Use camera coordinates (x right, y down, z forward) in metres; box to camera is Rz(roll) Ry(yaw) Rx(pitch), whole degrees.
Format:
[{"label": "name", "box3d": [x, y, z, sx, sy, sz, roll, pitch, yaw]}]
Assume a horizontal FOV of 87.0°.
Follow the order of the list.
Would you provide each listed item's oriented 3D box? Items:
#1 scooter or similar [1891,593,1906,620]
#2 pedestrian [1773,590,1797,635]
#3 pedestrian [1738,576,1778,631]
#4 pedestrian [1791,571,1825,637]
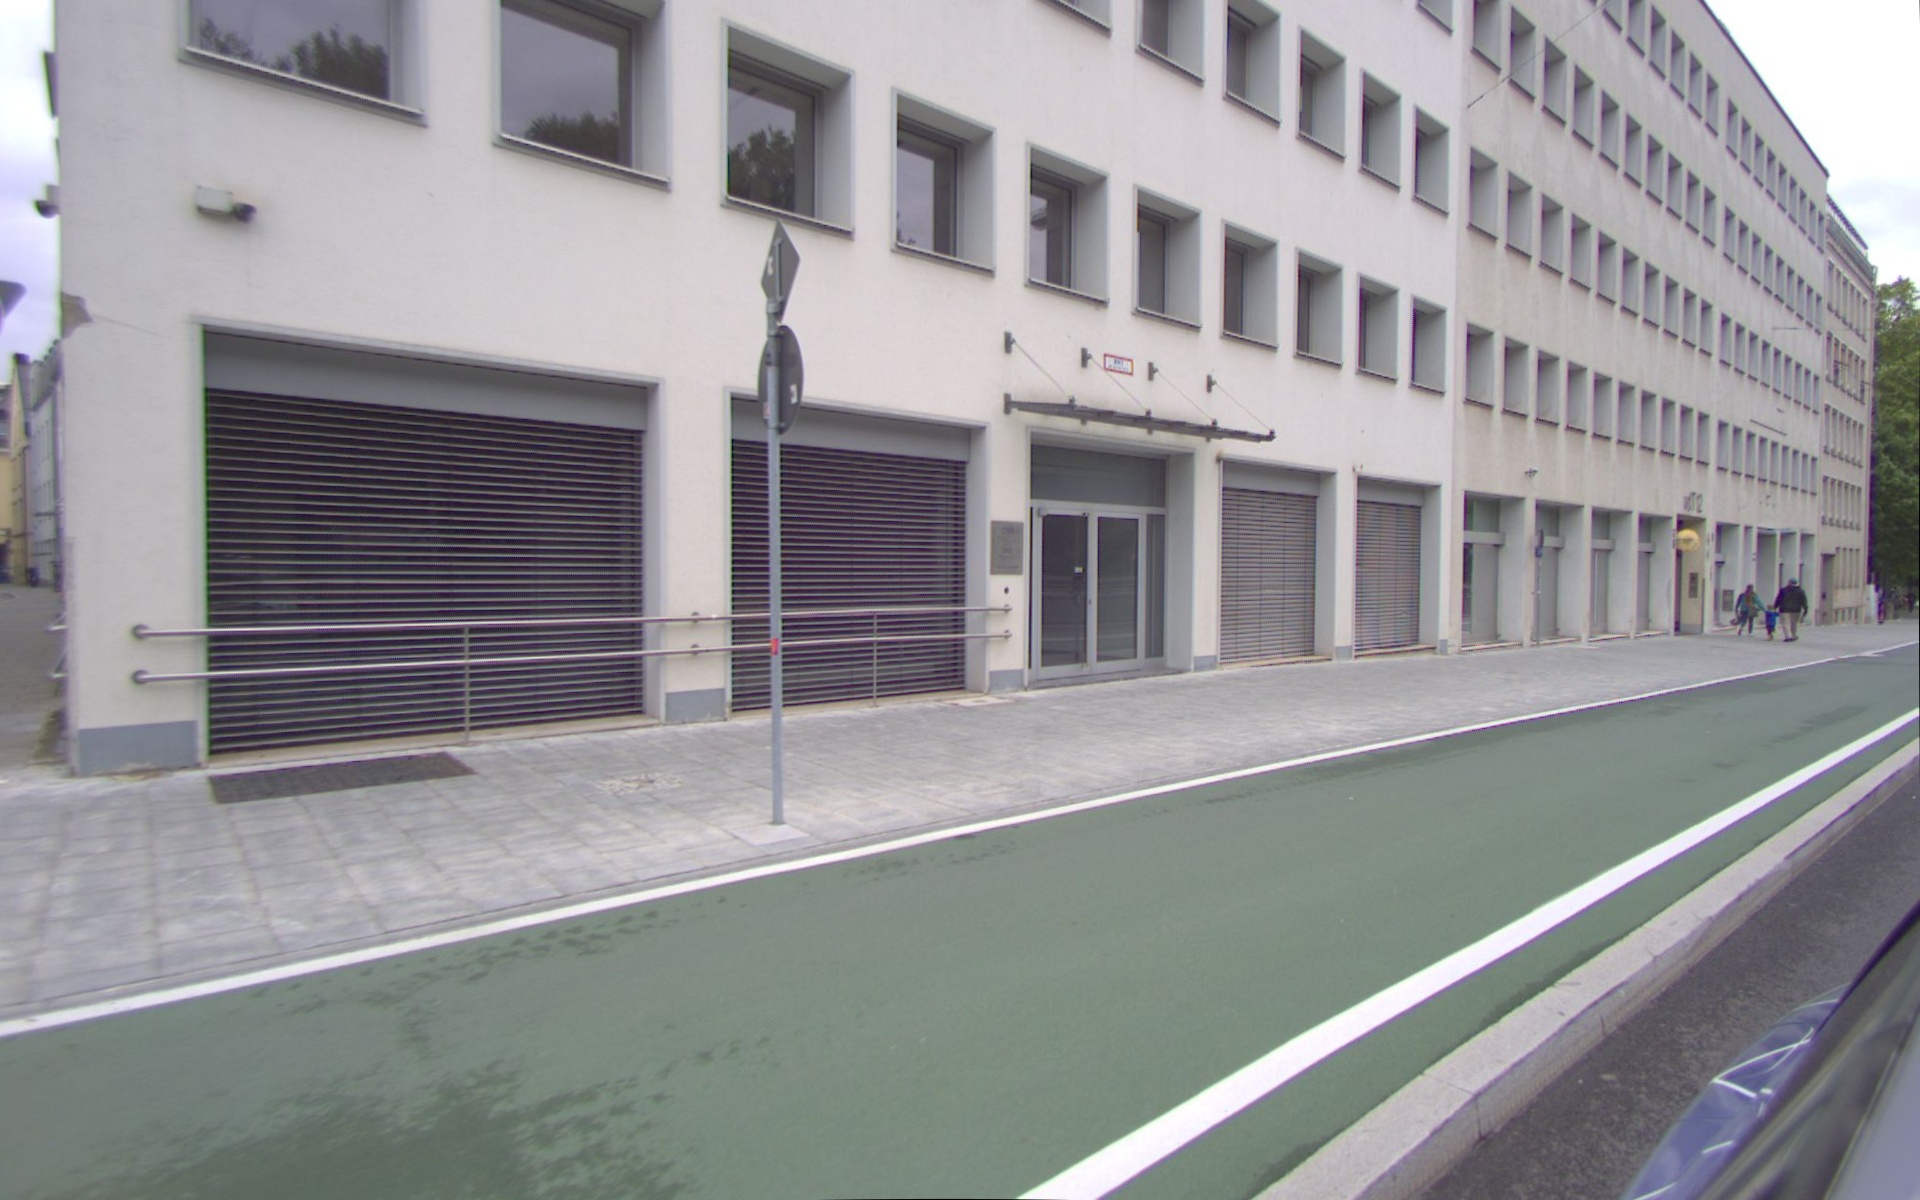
[{"label": "scooter or similar", "box3d": [47.252, 0.303, 50.941, 1.100, 1.288, 0.387, -2, 4, -41]}, {"label": "pedestrian", "box3d": [24.309, 0.362, 29.815, 0.461, 1.261, 0.368, 0, 5, -40]}, {"label": "pedestrian", "box3d": [25.004, 0.094, 31.712, 0.691, 1.638, 0.754, 0, 5, -40]}, {"label": "pedestrian", "box3d": [24.822, 0.107, 29.619, 0.591, 1.857, 0.514, 0, 5, -40]}]
